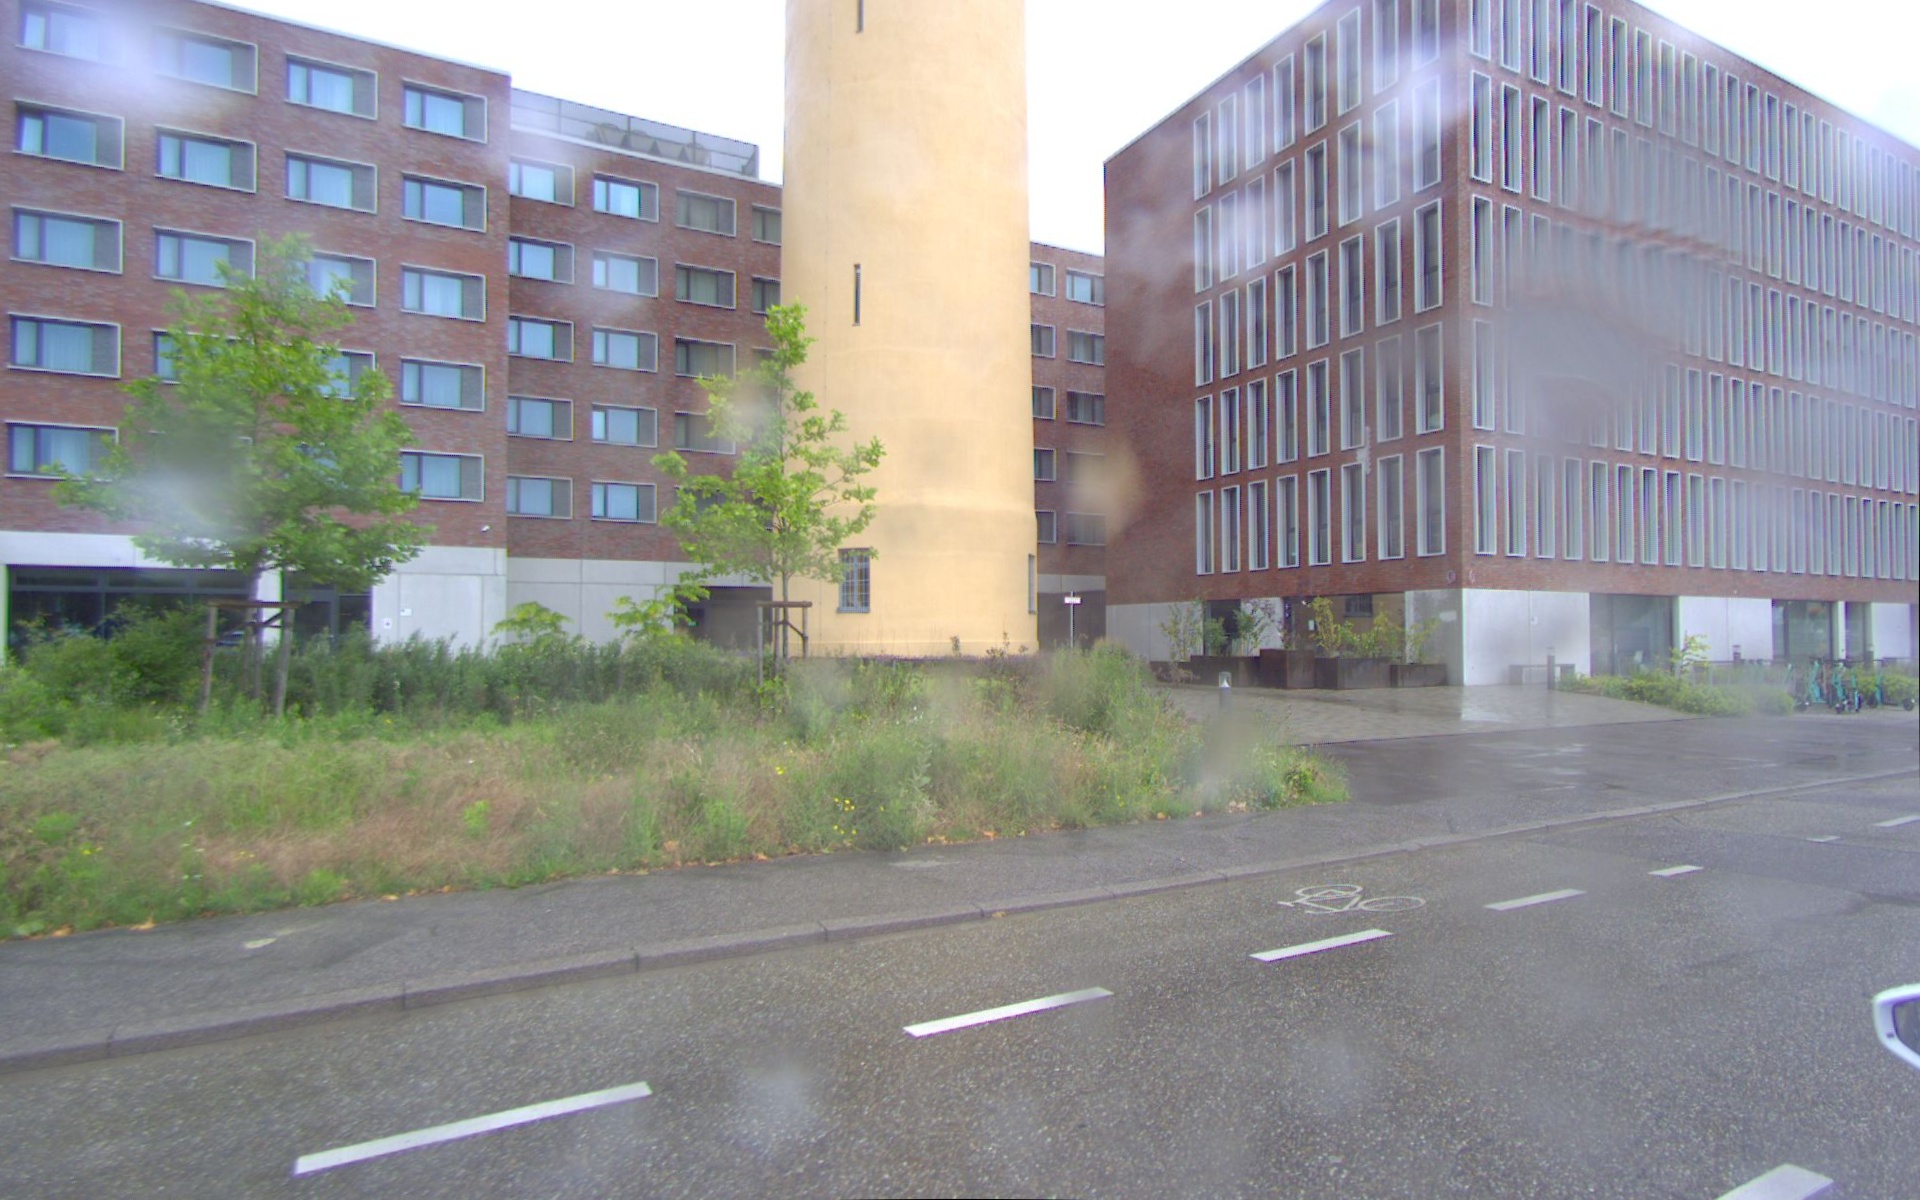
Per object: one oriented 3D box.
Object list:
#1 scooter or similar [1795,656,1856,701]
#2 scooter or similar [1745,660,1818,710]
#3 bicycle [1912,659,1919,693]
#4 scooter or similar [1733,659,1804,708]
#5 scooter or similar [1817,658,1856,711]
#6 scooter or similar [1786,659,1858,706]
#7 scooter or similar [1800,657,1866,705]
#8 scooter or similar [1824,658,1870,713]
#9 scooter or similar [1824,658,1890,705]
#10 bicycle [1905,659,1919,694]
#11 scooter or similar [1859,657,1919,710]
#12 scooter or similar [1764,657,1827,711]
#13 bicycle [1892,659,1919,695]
[{"bbox_3d":[24.588,2.212,28.559,0.411,1.224,1.224,1,-3,-22],"label":"scooter or similar"},{"bbox_3d":[20.445,2.100,25.034,0.461,1.193,1.313,1,-3,-24],"label":"scooter or similar"},{"bbox_3d":[31.942,2.502,32.313,0.538,1.091,1.850,1,-1,-30],"label":"bicycle"},{"bbox_3d":[20.665,2.122,25.687,0.461,1.193,1.313,1,-3,-24],"label":"scooter or similar"},{"bbox_3d":[21.616,2.062,24.777,0.459,1.246,1.318,-2,-3,31],"label":"scooter or similar"},{"bbox_3d":[22.110,2.102,25.781,0.464,1.193,1.305,2,-3,-41],"label":"scooter or similar"},{"bbox_3d":[22.813,2.114,26.268,1.183,1.246,0.468,-1,-3,13],"label":"scooter or similar"},{"bbox_3d":[20.853,1.996,23.611,1.307,1.246,0.463,1,-3,-33],"label":"scooter or similar"},{"bbox_3d":[23.636,2.138,26.481,1.183,1.224,0.468,-1,-3,13],"label":"scooter or similar"},{"bbox_3d":[31.442,2.483,32.019,0.538,1.091,1.850,1,-1,-30],"label":"bicycle"},{"bbox_3d":[23.025,2.040,24.779,0.458,1.246,1.321,0,-3,-1],"label":"scooter or similar"},{"bbox_3d":[19.911,1.988,23.956,0.498,1.246,1.322,-1,-3,9],"label":"scooter or similar"},{"bbox_3d":[30.589,2.453,31.490,0.613,1.091,1.938,2,-1,-30],"label":"bicycle"}]
